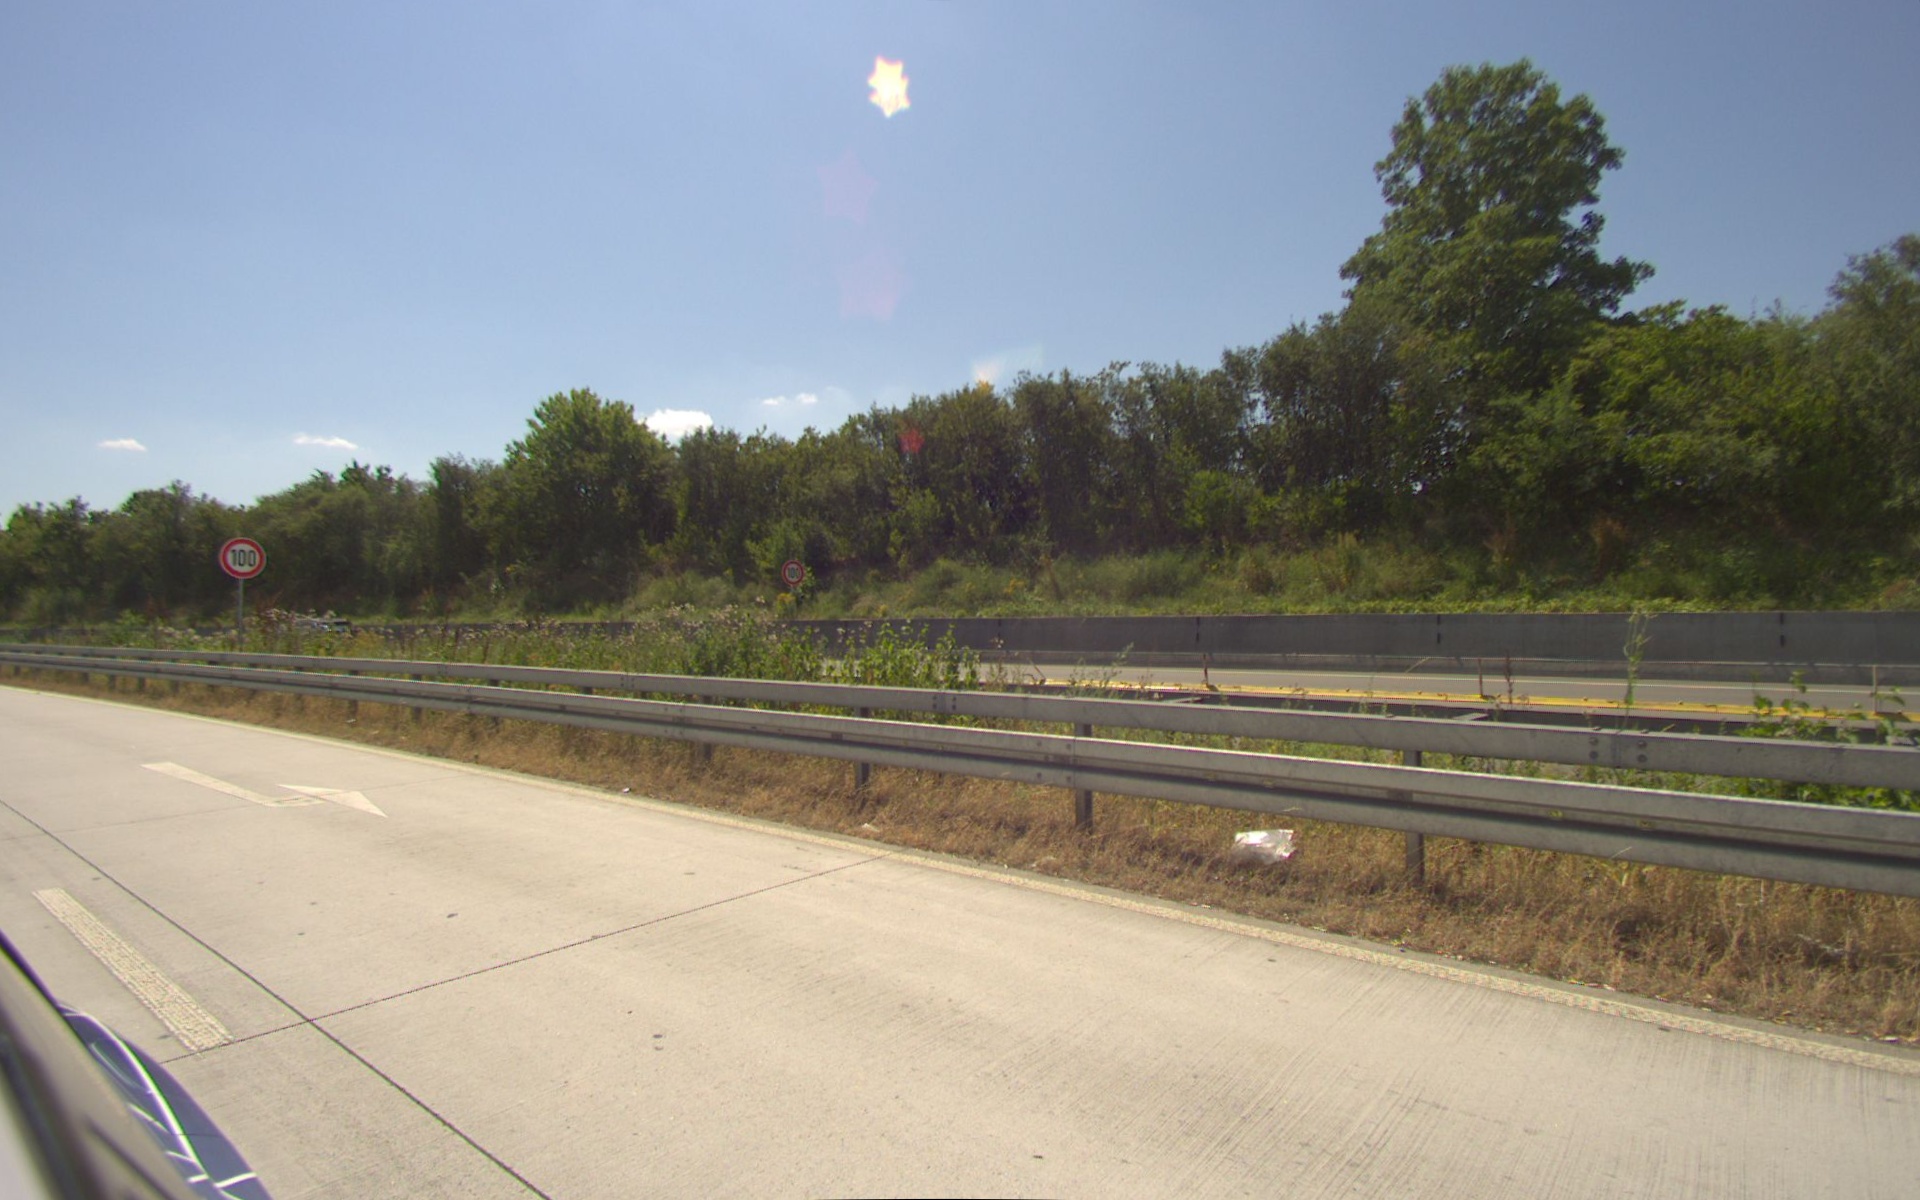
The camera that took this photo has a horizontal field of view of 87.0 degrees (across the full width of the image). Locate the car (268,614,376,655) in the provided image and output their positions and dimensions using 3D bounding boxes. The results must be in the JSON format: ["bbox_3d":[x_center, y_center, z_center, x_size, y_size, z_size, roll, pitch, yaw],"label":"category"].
[{"bbox_3d":[-24.258,1.277,38.416,4.592,1.458,1.856,-1,0,35],"label":"car"}]
